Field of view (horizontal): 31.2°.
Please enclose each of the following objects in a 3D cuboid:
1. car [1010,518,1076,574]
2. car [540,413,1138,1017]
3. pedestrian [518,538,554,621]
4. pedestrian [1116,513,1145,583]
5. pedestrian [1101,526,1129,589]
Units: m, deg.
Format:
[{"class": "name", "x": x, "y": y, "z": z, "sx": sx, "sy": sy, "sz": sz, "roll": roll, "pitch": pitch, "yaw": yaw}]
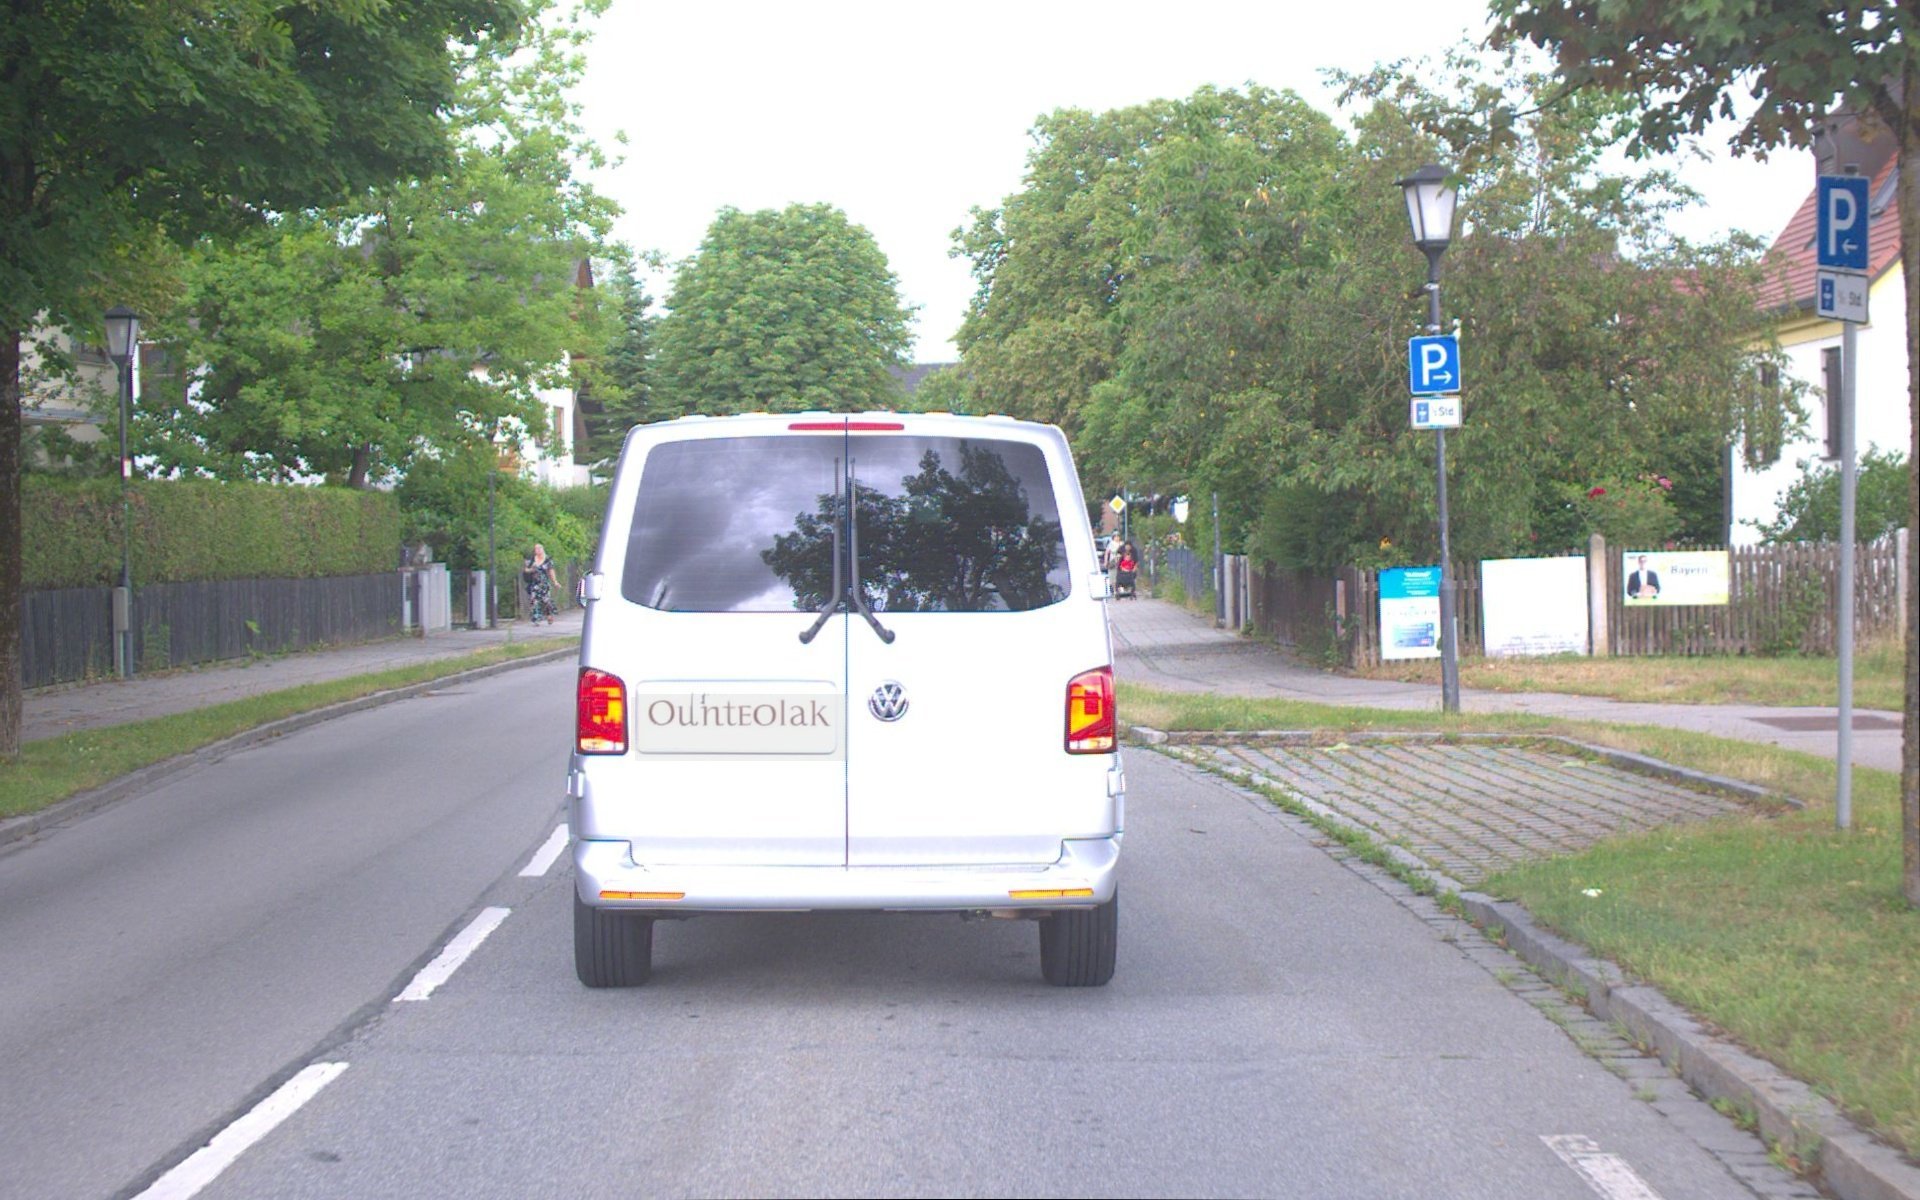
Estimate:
[{"class": "car", "x": 3.127, "y": -2.035, "z": 128.762, "sx": 1.994, "sy": 2.007, "sz": 3.999, "roll": -1, "pitch": 1, "yaw": 7}, {"class": "car", "x": -0.372, "y": 0.335, "z": 12.850, "sx": 1.888, "sy": 1.905, "sz": 4.000, "roll": 0, "pitch": 1, "yaw": 0}, {"class": "pedestrian", "x": -8.015, "y": -0.392, "z": 65.001, "sx": 0.622, "sy": 1.544, "sz": 0.522, "roll": 1, "pitch": 1, "yaw": -3}, {"class": "pedestrian", "x": 3.835, "y": -1.172, "z": 77.363, "sx": 0.551, "sy": 1.544, "sz": 0.612, "roll": 1, "pitch": 1, "yaw": -3}, {"class": "pedestrian", "x": 3.769, "y": -1.023, "z": 83.604, "sx": 0.622, "sy": 1.518, "sz": 0.579, "roll": 1, "pitch": 1, "yaw": -3}]
